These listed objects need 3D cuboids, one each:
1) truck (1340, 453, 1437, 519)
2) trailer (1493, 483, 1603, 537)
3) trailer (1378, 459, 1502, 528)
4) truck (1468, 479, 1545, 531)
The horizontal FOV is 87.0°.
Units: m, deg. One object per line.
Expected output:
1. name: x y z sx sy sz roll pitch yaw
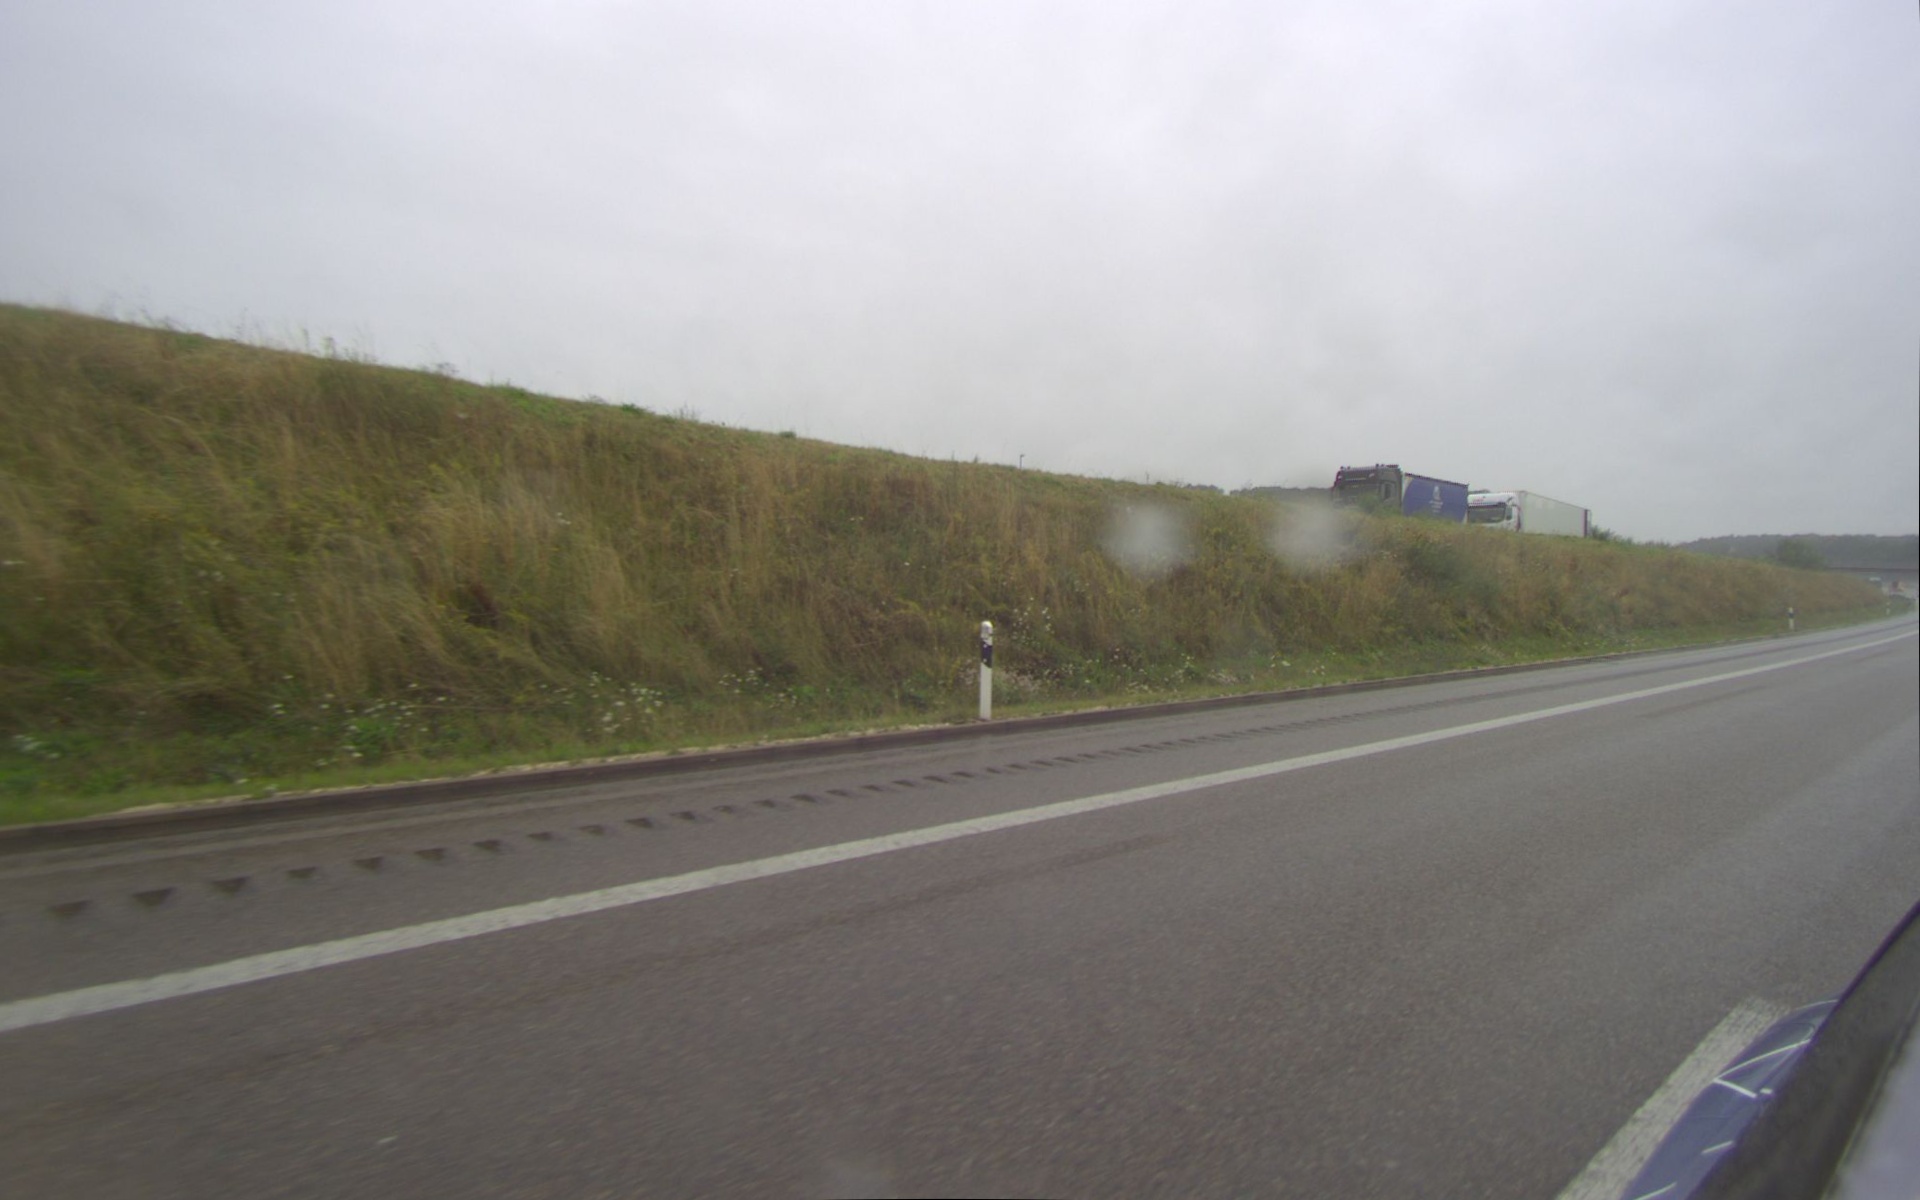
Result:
1. truck: 20.393 -5.318 48.067 4.976 2.637 2.369 -1 1 -42
2. trailer: 37.491 -5.583 64.238 12.744 2.636 2.384 -1 1 -43
3. trailer: 24.782 -5.335 51.947 9.242 2.790 2.300 -1 1 -41
4. truck: 32.005 -5.508 59.225 4.993 2.600 2.428 -1 1 -42
